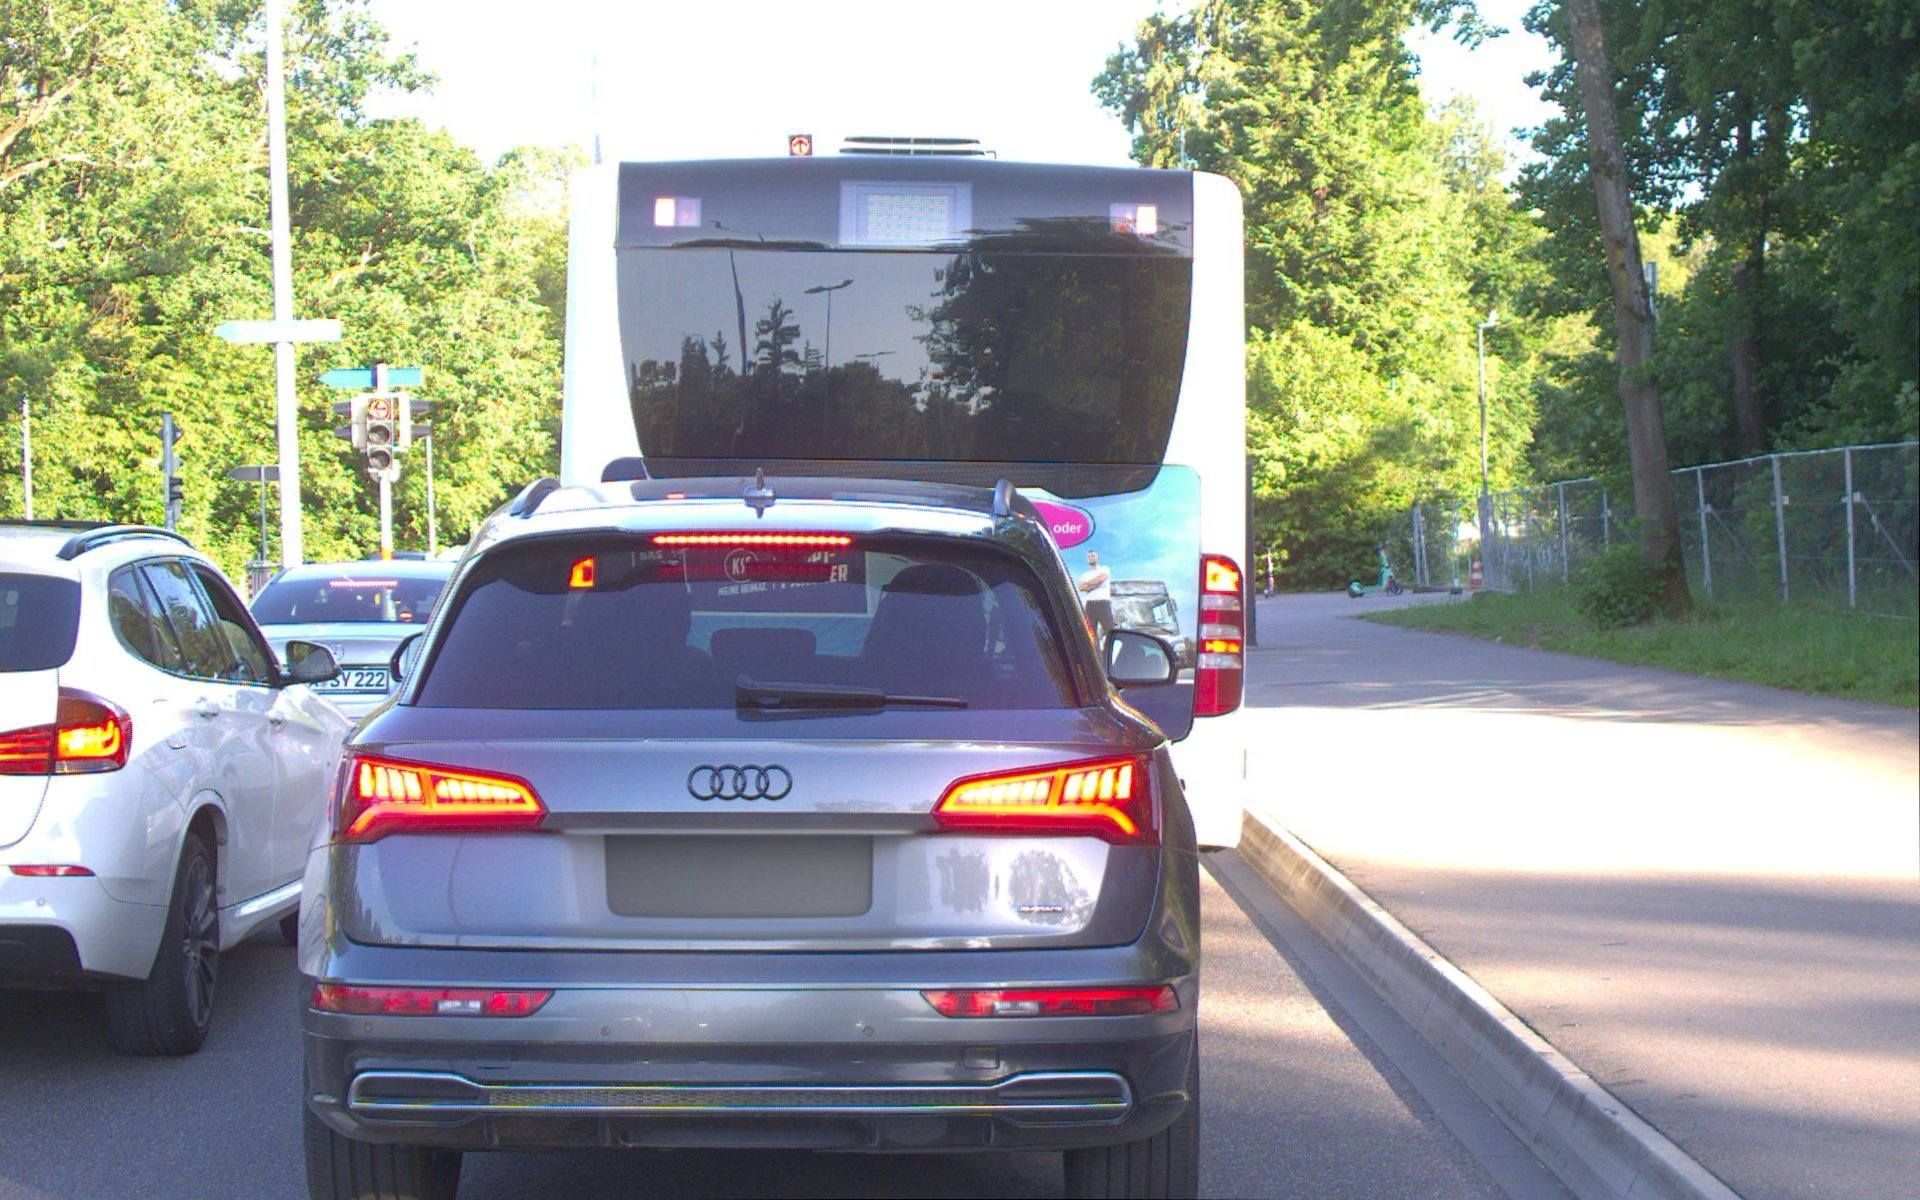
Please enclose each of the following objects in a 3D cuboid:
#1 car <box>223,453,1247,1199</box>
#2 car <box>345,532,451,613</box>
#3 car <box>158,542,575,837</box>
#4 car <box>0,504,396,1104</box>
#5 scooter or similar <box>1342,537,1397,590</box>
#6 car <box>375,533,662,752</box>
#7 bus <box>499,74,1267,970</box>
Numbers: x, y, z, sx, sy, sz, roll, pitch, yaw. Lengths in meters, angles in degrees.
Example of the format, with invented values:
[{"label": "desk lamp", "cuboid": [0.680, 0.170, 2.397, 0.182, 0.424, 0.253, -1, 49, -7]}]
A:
[{"label": "car", "cuboid": [-0.439, 0.516, 8.332, 1.868, 1.658, 4.000, 1, 2, -1]}, {"label": "car", "cuboid": [-12.168, -0.609, 74.610, 1.993, 1.656, 4.001, -2, 1, -6]}, {"label": "car", "cuboid": [-3.272, 0.421, 19.699, 1.785, 1.439, 4.278, 1, 2, -2]}, {"label": "car", "cuboid": [-3.058, 0.493, 11.254, 1.718, 1.575, 4.434, 1, 1, -1]}, {"label": "scooter or similar", "cuboid": [9.284, -0.828, 77.987, 1.184, 1.170, 0.659, 1, 1, 11]}, {"label": "car", "cuboid": [-3.447, 0.274, 27.481, 1.808, 1.567, 4.000, 1, 2, -1]}, {"label": "bus", "cuboid": [-0.244, -0.354, 15.101, 2.678, 3.131, 5.882, 1, 2, 1]}]
